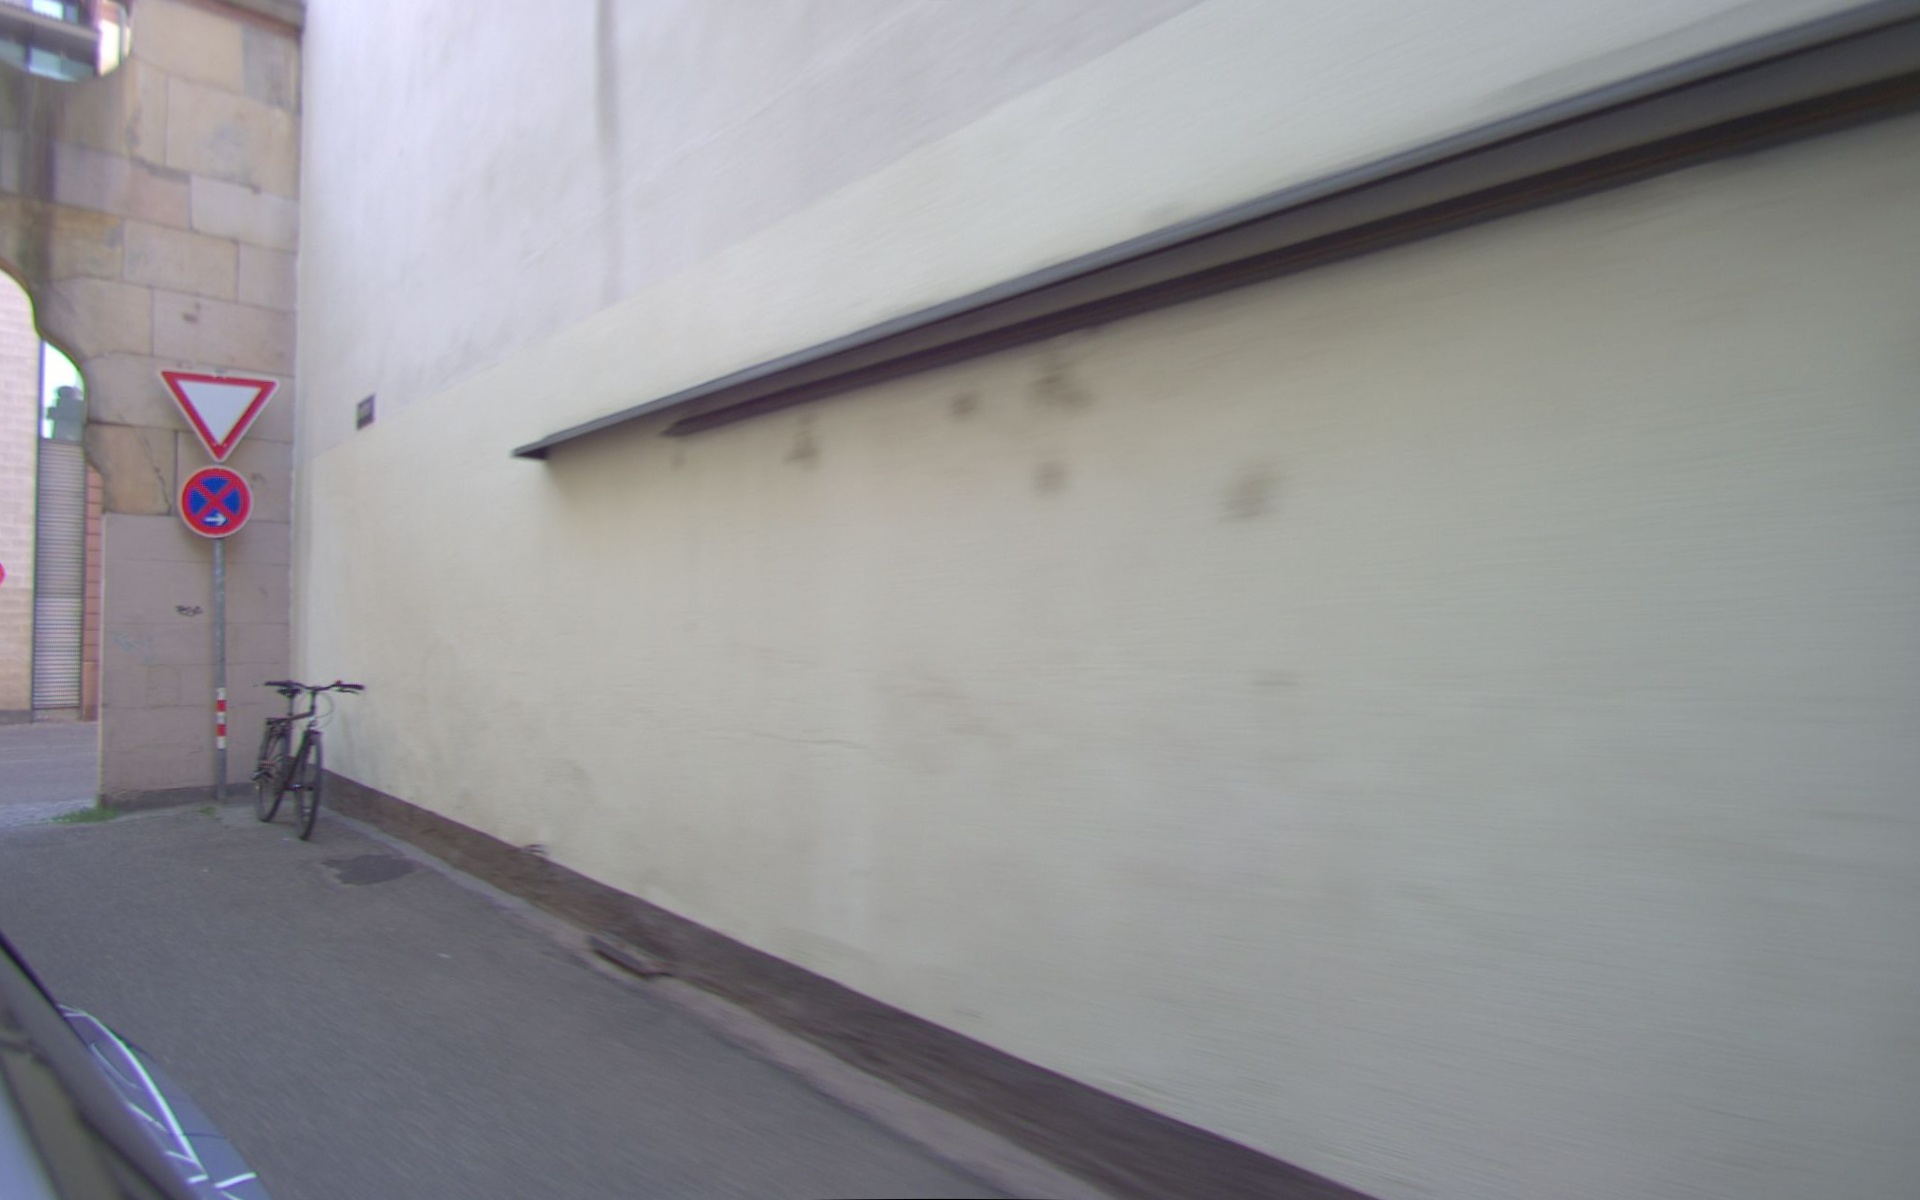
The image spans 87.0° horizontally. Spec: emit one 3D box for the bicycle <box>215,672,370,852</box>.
[{"bbox_3d":[-4.874,1.102,7.346,0.588,1.087,1.757,4,-4,-44],"label":"bicycle"}]
